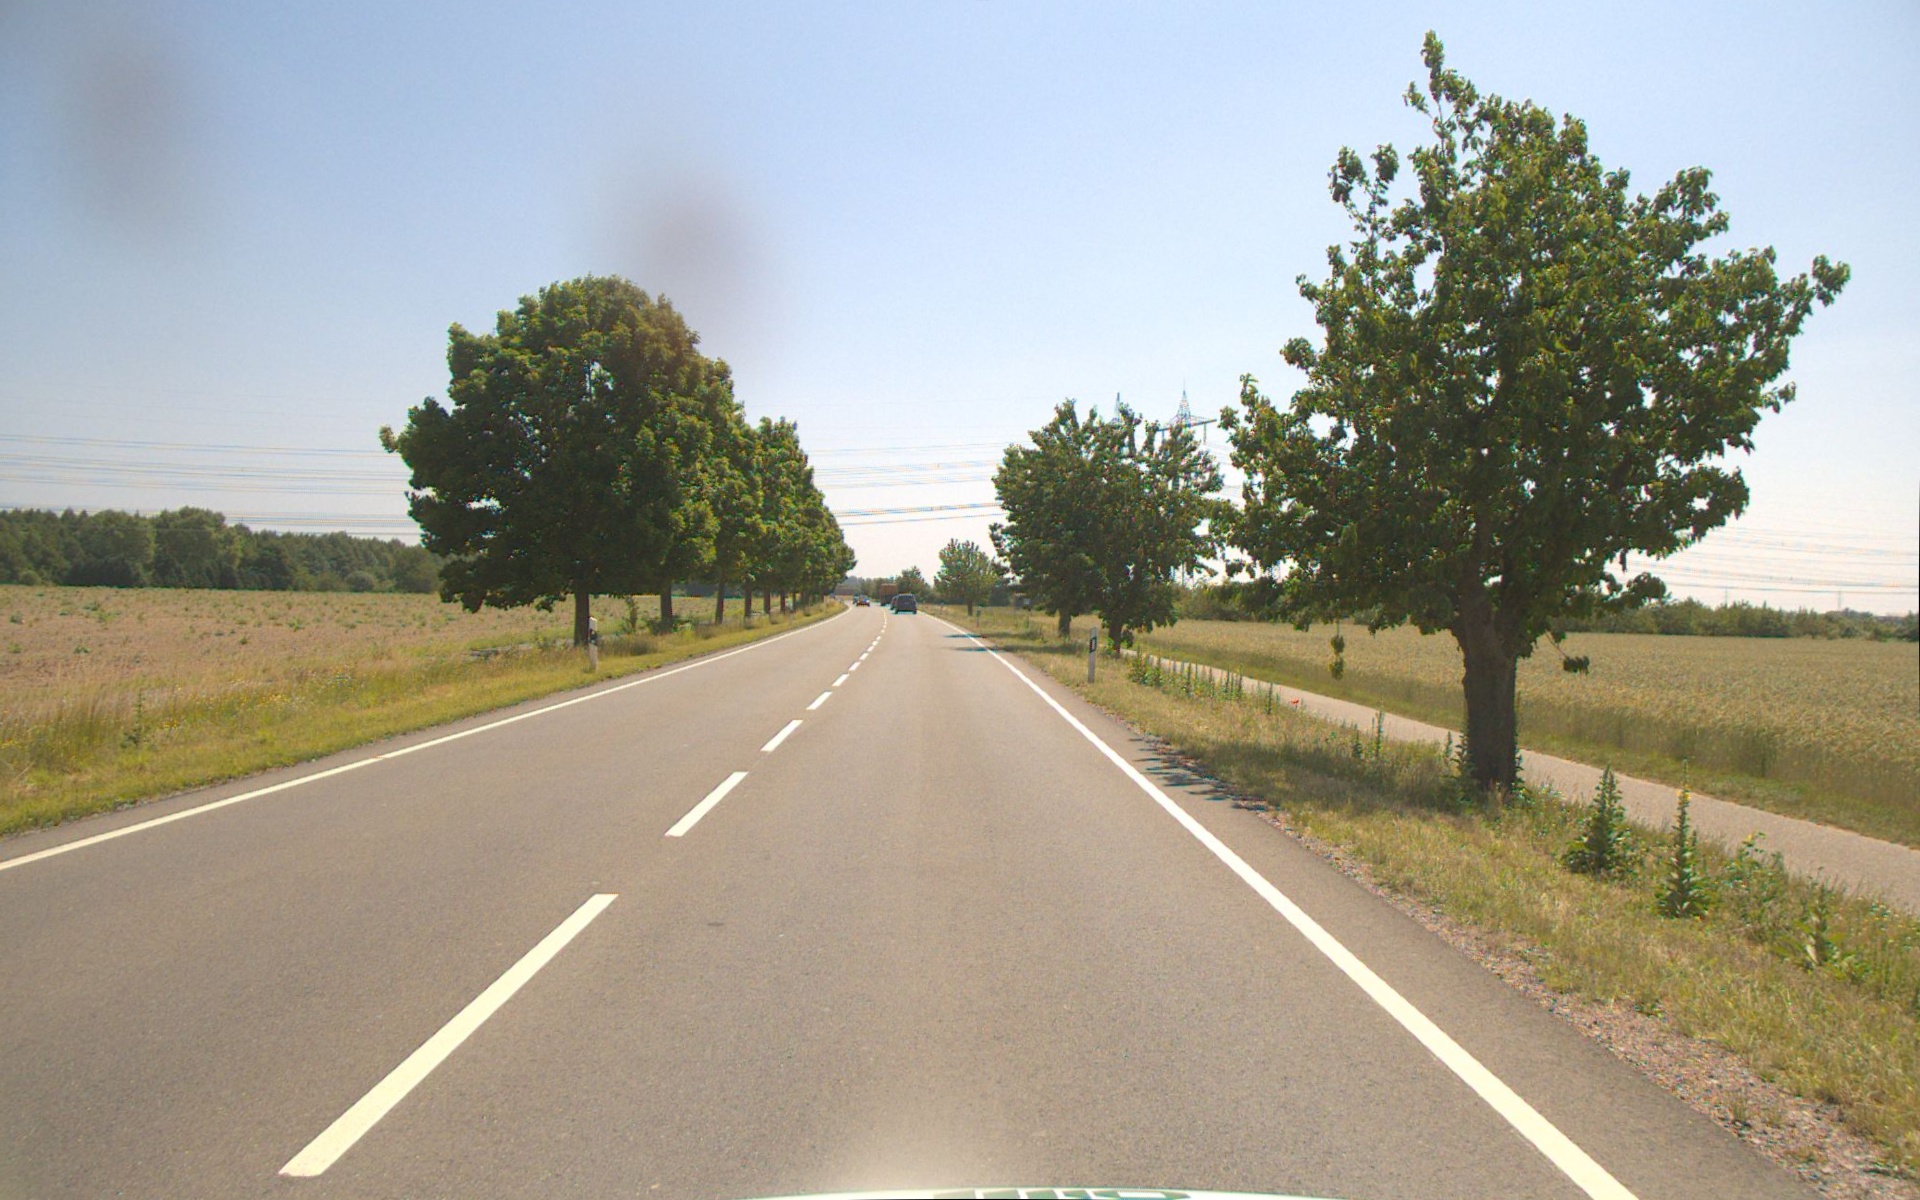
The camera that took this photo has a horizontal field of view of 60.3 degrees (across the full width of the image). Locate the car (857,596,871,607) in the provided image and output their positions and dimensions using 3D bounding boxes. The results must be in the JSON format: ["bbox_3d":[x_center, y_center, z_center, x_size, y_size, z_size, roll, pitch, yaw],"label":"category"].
[{"bbox_3d":[-13.059,0.203,224.787,1.785,1.445,4.587,1,0,-2],"label":"car"}]

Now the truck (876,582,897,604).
[{"bbox_3d":[-10.838,-1.072,243.542,2.325,3.195,8.734,2,0,-7],"label":"truck"}]

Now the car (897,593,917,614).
[{"bbox_3d":[-4.578,0.321,143.401,1.680,1.723,3.987,1,0,-2],"label":"car"}]

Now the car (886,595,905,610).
[{"bbox_3d":[-7.159,0.298,182.717,1.815,1.549,3.995,1,0,-6],"label":"car"}]
